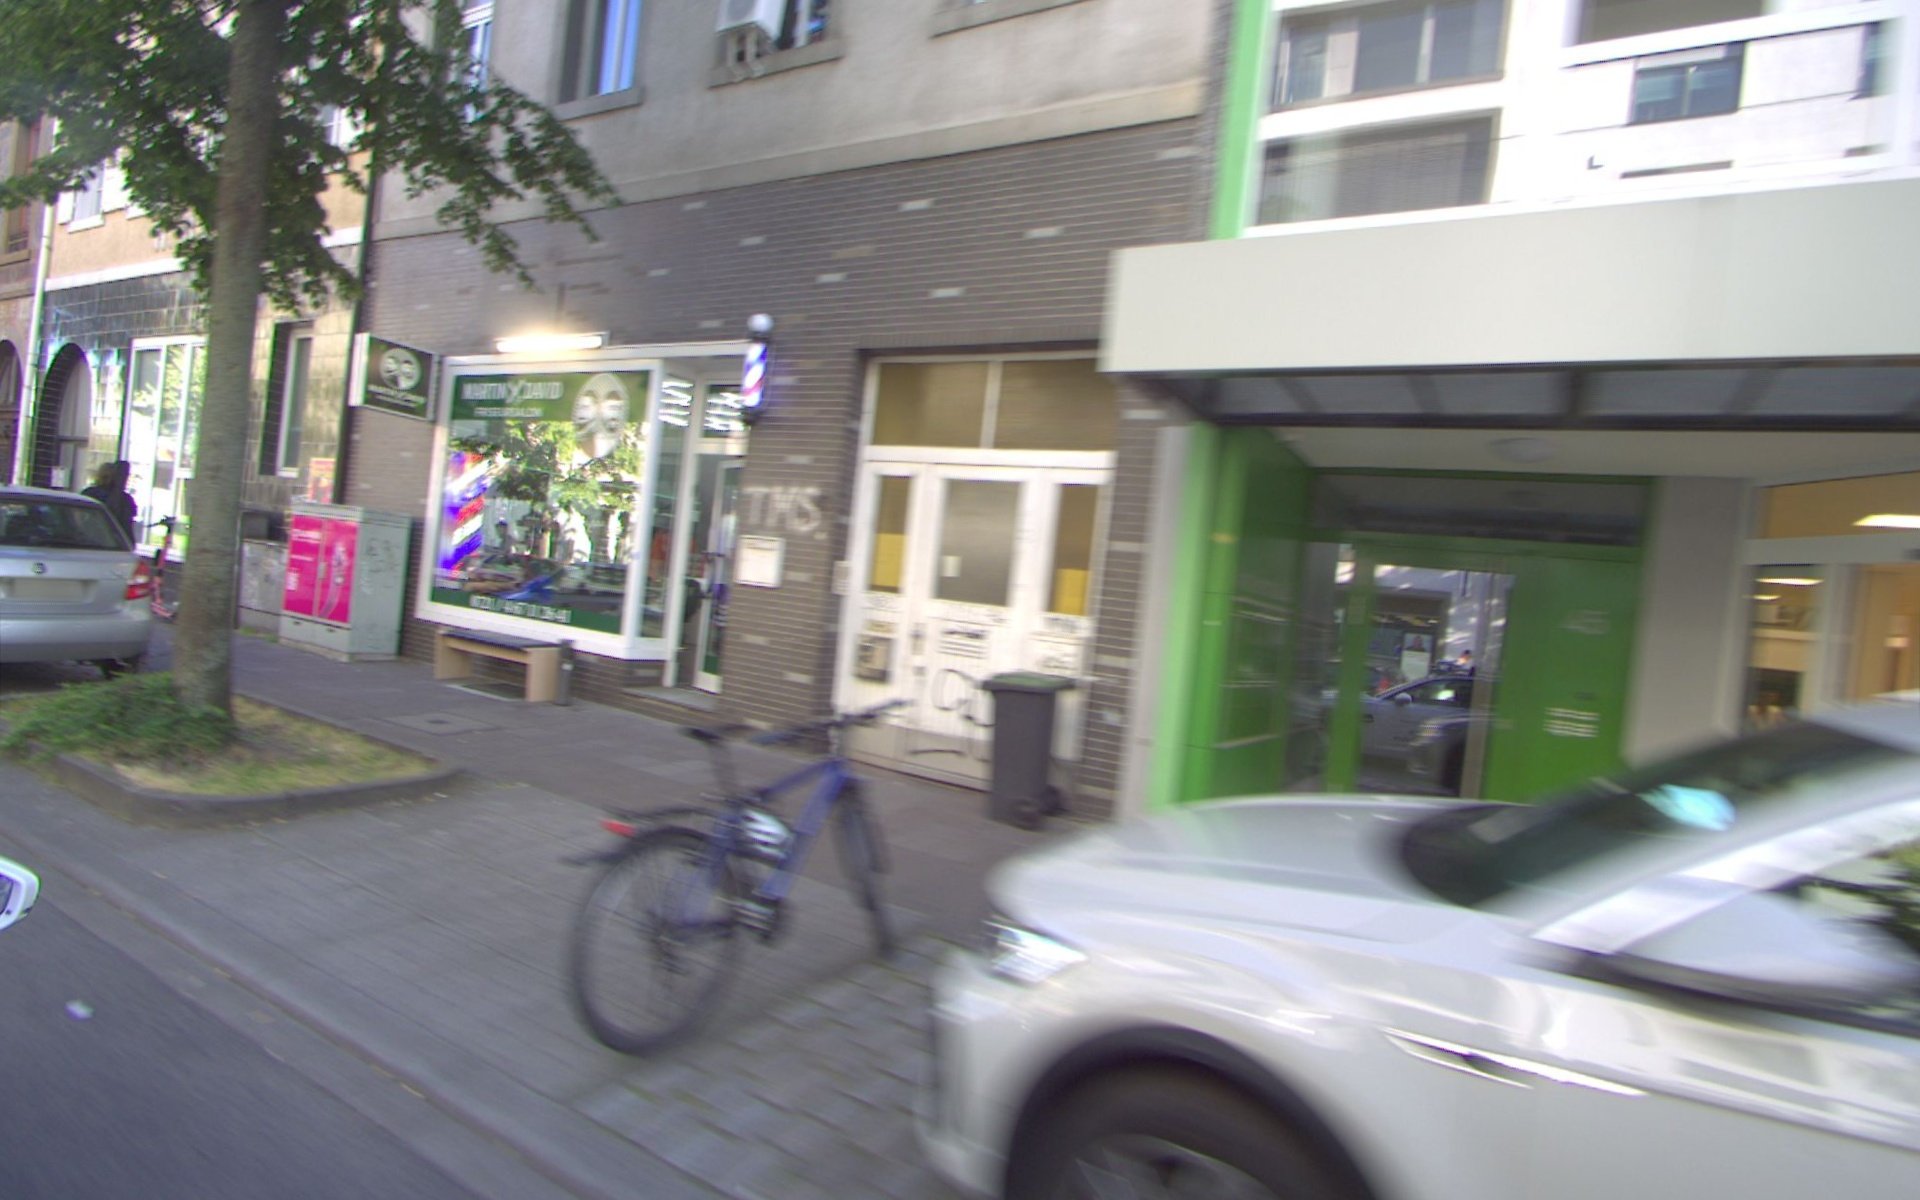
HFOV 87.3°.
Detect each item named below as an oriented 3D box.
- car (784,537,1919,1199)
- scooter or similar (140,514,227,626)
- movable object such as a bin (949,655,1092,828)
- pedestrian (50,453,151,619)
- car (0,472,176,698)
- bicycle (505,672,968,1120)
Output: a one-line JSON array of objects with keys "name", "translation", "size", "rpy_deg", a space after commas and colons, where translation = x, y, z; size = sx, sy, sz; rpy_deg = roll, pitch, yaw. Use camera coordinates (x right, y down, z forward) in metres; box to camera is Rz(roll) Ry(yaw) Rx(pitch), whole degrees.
[{"name": "car", "translation": [1.921, 0.872, 1.930], "size": [4.163, 1.547, 1.883], "rpy_deg": [7, 2, 31]}, {"name": "scooter or similar", "translation": [-9.124, -0.355, 11.810], "size": [1.149, 1.203, 0.399], "rpy_deg": [7, 3, 33]}, {"name": "movable object such as a bin", "translation": [0.388, 0.879, 6.444], "size": [0.644, 0.969, 0.523], "rpy_deg": [7, 1, 33]}, {"name": "pedestrian", "translation": [-9.800, -0.720, 11.472], "size": [0.758, 1.789, 0.622], "rpy_deg": [7, 3, 33]}, {"name": "car", "translation": [-8.247, -0.297, 8.124], "size": [4.163, 1.550, 1.614], "rpy_deg": [7, 3, 31]}, {"name": "bicycle", "translation": [-0.668, 0.858, 3.536], "size": [0.601, 1.027, 1.622], "rpy_deg": [7, 4, 30]}]
